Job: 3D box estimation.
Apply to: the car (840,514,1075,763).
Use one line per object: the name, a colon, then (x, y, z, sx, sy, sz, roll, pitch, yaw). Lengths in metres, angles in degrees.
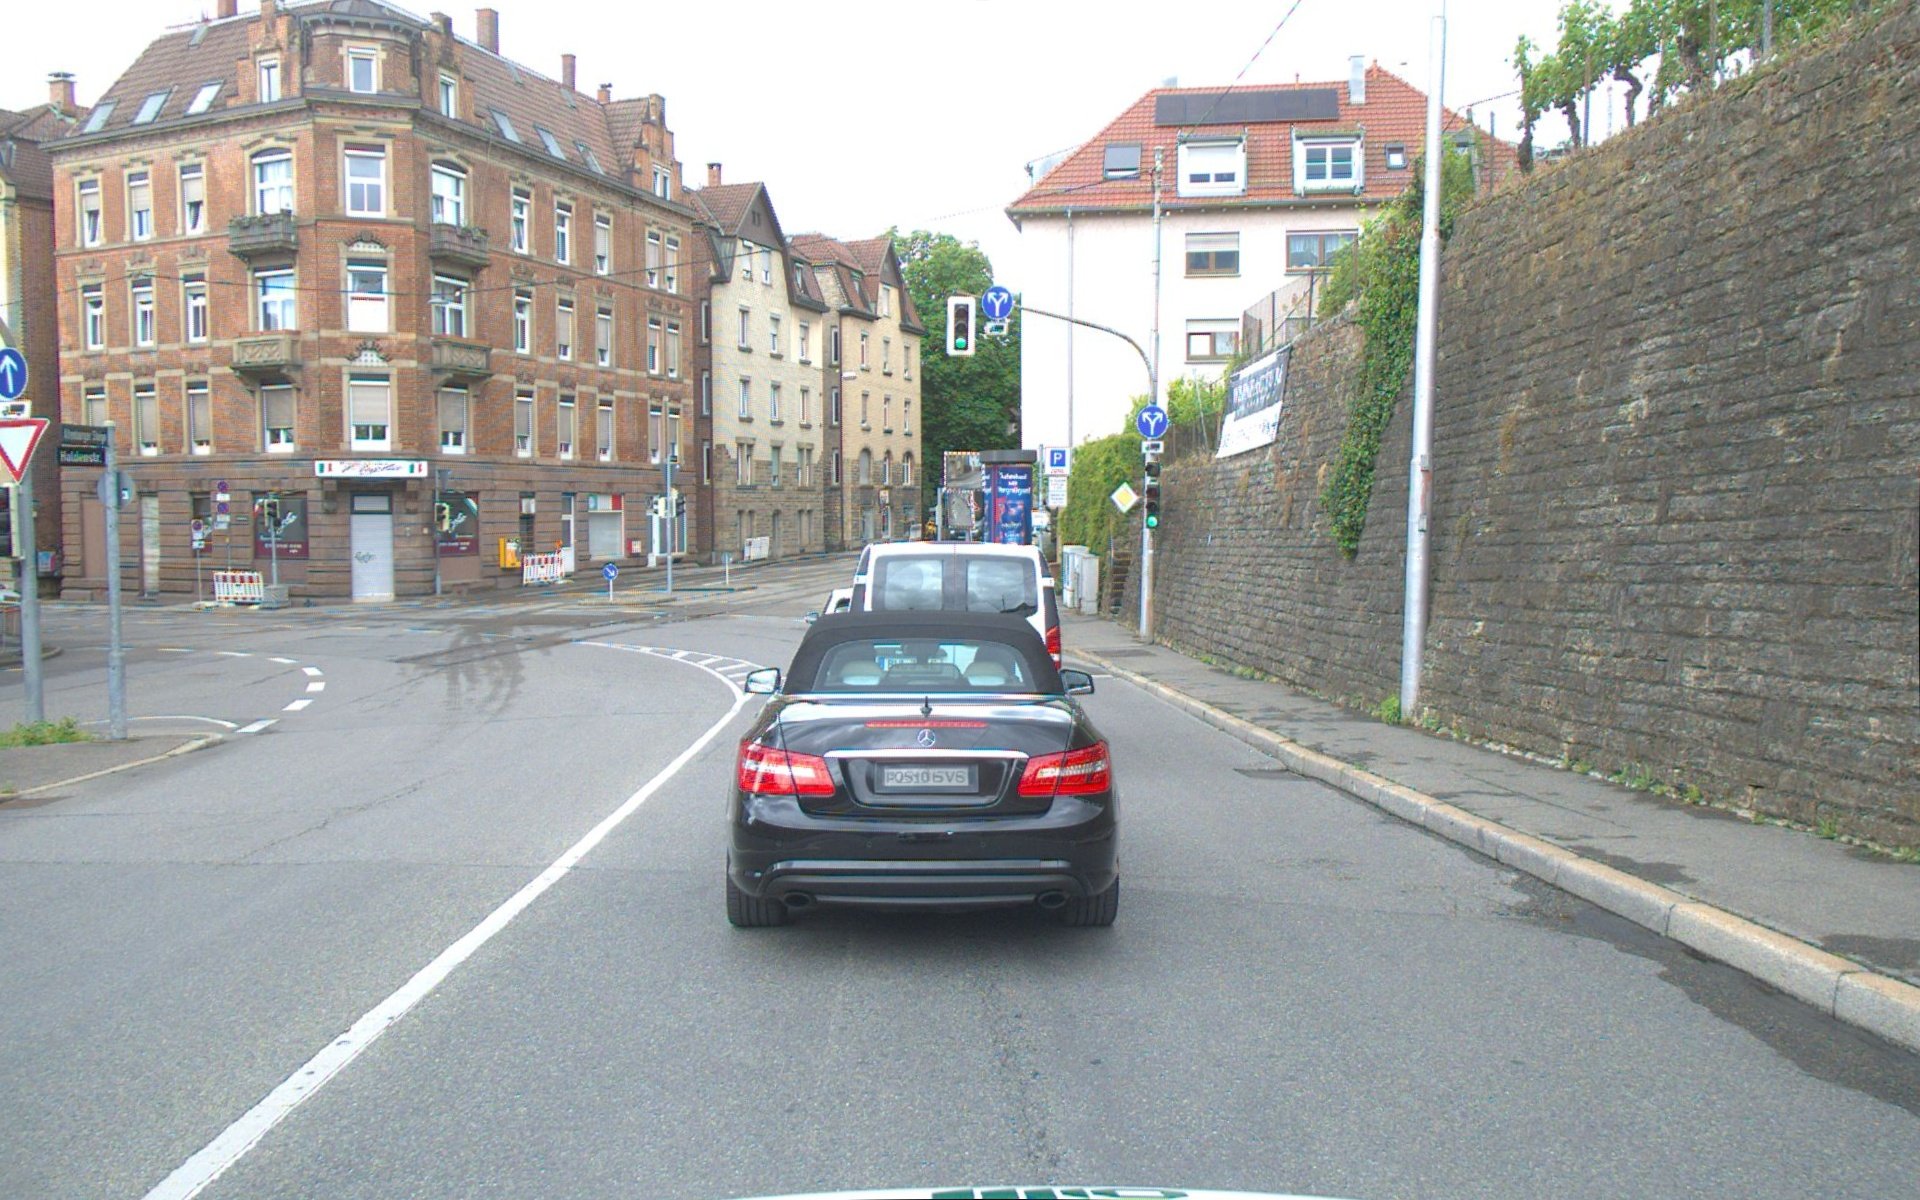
car: (-0.051, 0.269, 15.397, 1.853, 1.962, 4.645, 0, 1, -1)

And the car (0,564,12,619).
car: (-27.969, -0.242, 45.452, 3.561, 1.493, 1.673, 1, 1, 27)

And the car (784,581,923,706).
car: (-1.333, 0.500, 21.934, 1.647, 1.491, 3.918, 0, 1, -1)

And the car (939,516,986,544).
car: (0.162, -4.217, 98.884, 1.951, 1.541, 4.291, -1, 4, 11)

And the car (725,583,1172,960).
car: (-0.074, 0.644, 8.600, 1.726, 1.434, 4.398, 0, 1, -1)

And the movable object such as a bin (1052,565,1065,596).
movable object such as a bin: (3.001, -0.594, 50.401, 0.337, 0.927, 0.494, 0, 1, -6)
